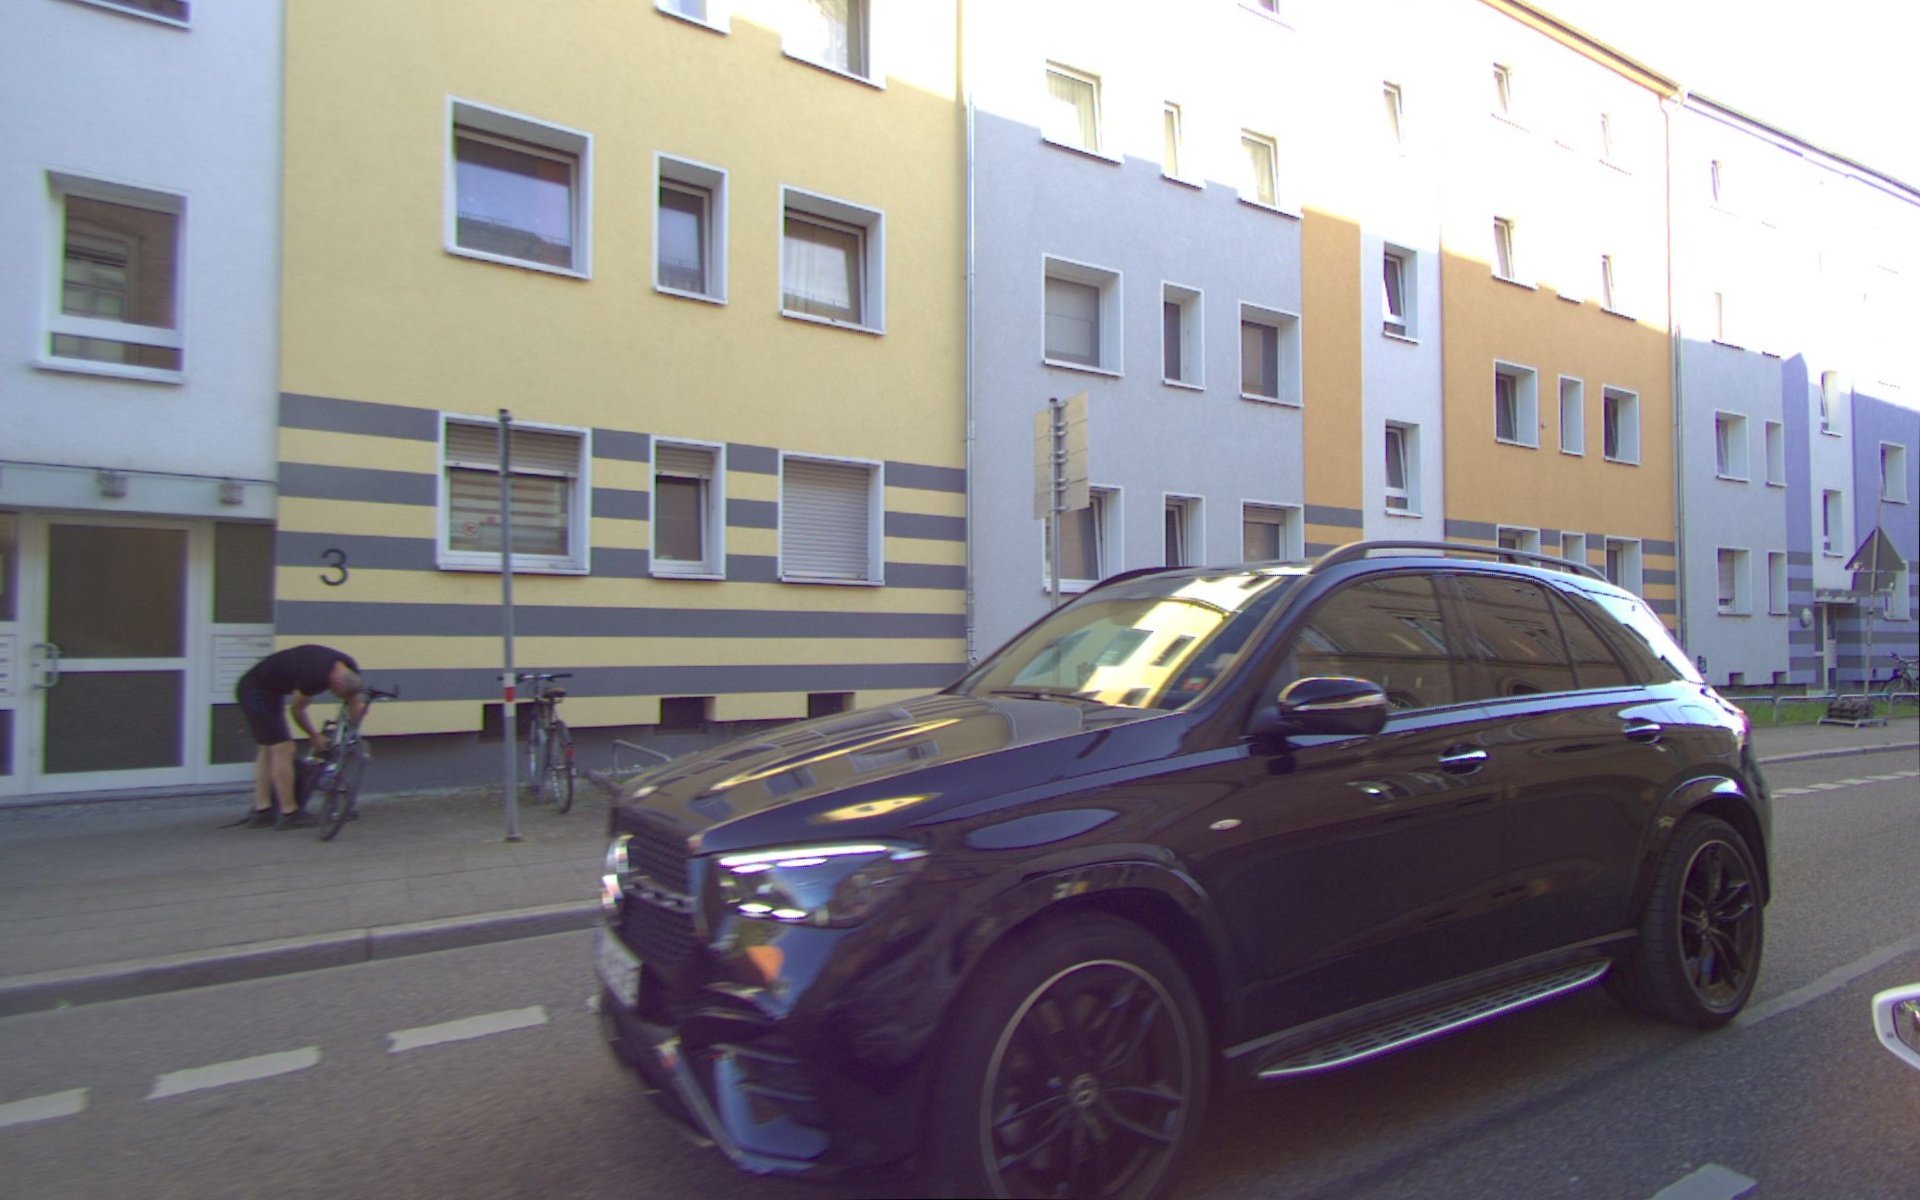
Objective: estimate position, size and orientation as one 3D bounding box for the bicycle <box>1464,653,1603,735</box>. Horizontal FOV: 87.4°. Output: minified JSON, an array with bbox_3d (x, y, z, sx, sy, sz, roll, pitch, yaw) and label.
[{"bbox_3d":[8.756,1.404,15.401,0.645,1.160,1.739,2,-3,-36],"label":"bicycle"}]

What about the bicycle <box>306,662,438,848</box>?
[{"bbox_3d":[-4.371,1.059,7.408,0.645,1.160,1.739,2,-3,-36],"label":"bicycle"}]

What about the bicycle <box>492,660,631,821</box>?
[{"bbox_3d":[-3.364,1.098,8.394,0.645,1.160,1.739,2,-3,-36],"label":"bicycle"}]

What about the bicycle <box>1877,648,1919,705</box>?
[{"bbox_3d":[21.573,1.718,22.419,0.444,1.258,1.578,1,-2,-29],"label":"bicycle"}]

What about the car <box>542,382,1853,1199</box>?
[{"bbox_3d":[1.209,0.647,3.915,5.035,1.858,1.891,2,-4,-31],"label":"car"}]

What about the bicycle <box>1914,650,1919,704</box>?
[{"bbox_3d":[22.789,1.766,22.755,0.461,1.258,1.632,1,-2,-29],"label":"bicycle"}]

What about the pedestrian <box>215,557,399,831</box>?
[{"bbox_3d":[-4.726,0.663,7.335,0.853,1.879,0.721,1,-2,-8],"label":"pedestrian"}]

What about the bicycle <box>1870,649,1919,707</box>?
[{"bbox_3d":[21.214,1.728,22.214,0.379,1.258,1.573,1,-2,-29],"label":"bicycle"}]
